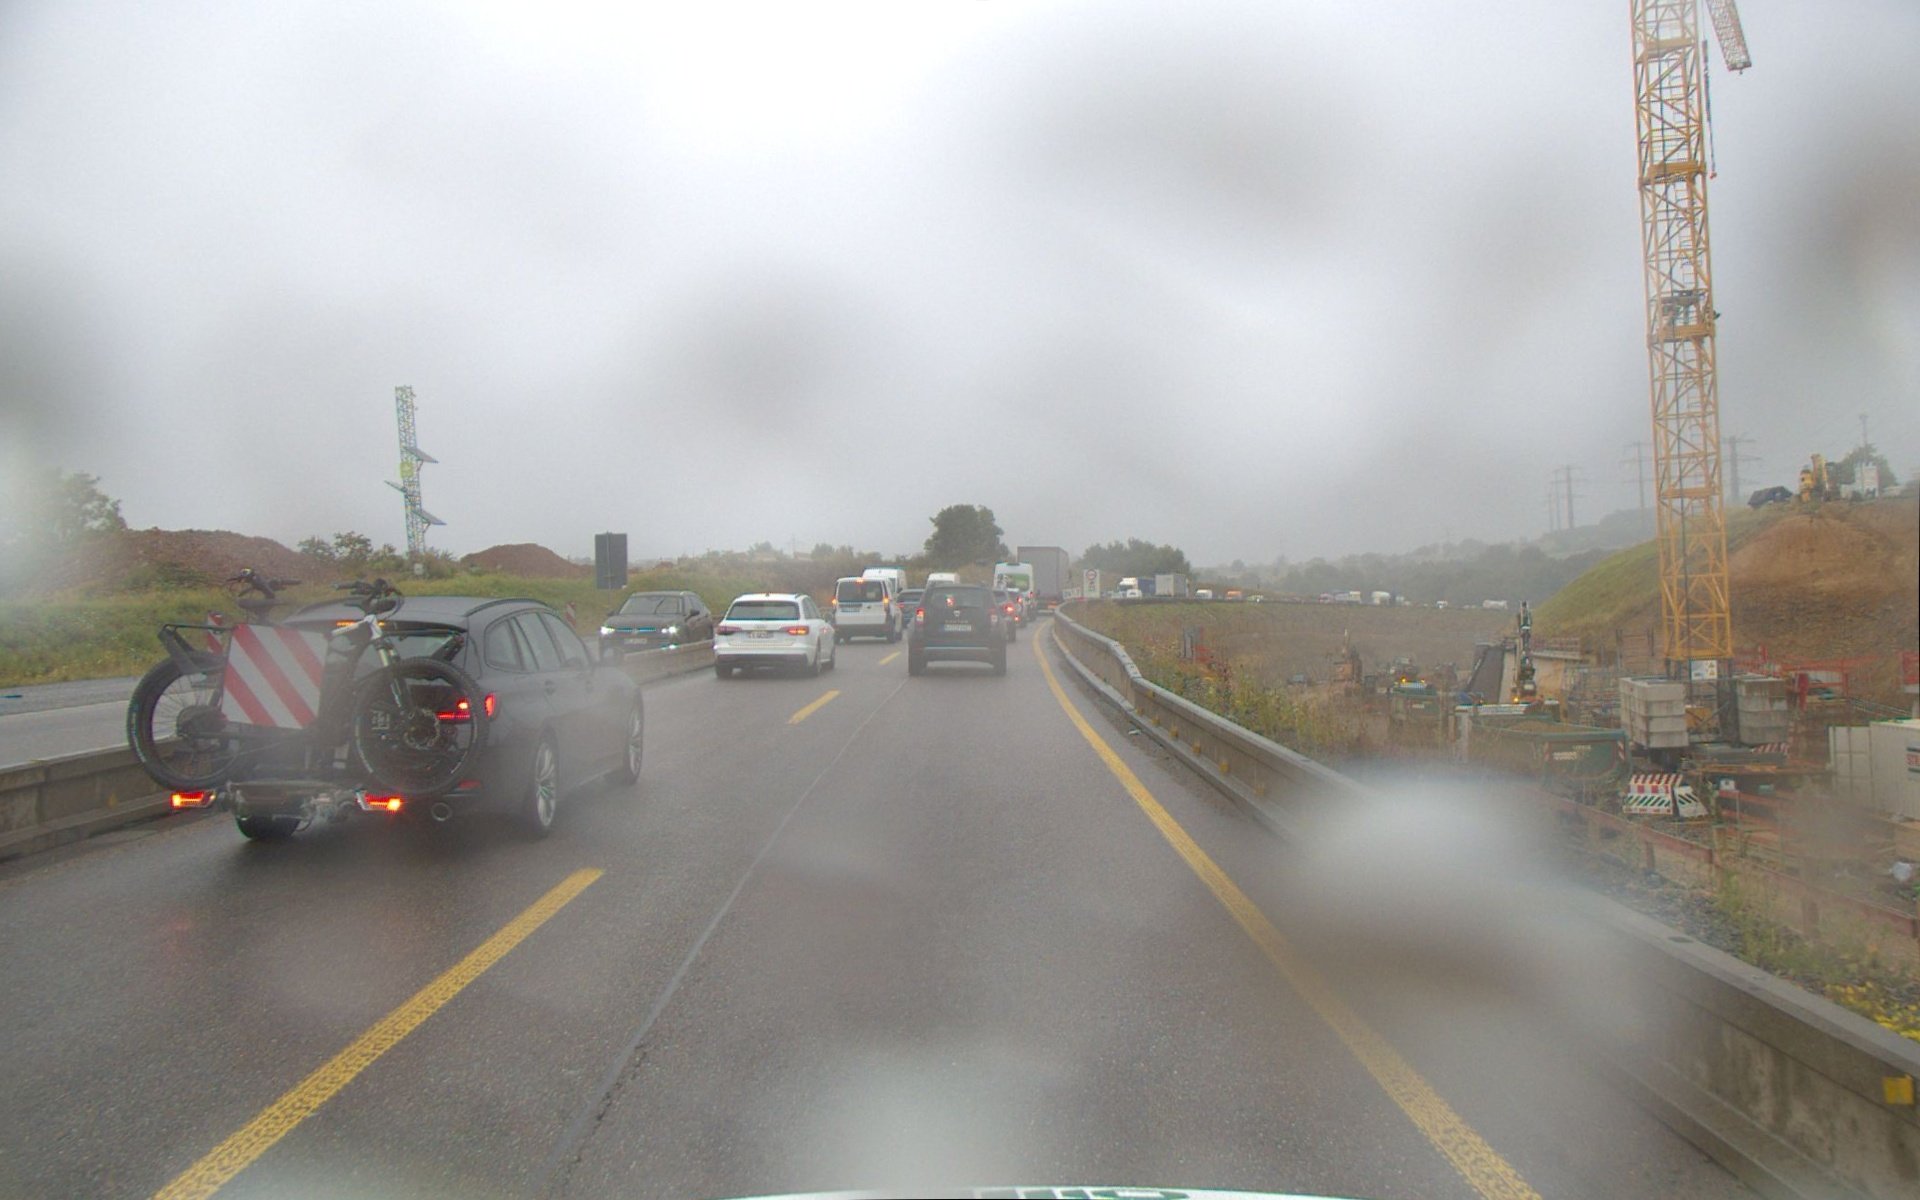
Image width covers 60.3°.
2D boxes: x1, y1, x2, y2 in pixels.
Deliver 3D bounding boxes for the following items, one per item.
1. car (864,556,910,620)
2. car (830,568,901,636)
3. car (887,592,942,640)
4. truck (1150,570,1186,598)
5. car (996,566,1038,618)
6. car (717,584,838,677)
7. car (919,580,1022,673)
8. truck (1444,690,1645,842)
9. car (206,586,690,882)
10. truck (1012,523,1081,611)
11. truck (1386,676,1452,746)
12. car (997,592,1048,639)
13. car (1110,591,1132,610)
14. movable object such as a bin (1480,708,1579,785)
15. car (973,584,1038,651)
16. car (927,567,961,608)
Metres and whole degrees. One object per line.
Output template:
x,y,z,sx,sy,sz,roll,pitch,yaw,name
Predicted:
-3.598,-0.603,82.320,1.952,3.066,5.780,1,0,1,car
-2.667,0.079,47.467,1.789,1.847,4.000,1,-1,0,car
-1.772,0.626,65.209,1.788,1.847,4.002,0,-1,4,car
28.291,-2.192,224.708,3.399,3.780,8.423,-1,0,17,truck
2.807,-0.368,81.015,1.787,2.480,4.160,0,-1,6,car
-3.185,0.522,29.510,1.789,1.525,3.999,1,-1,-1,car
0.200,0.490,31.107,1.789,1.619,4.000,1,-1,0,car
16.718,4.619,48.079,2.644,3.565,8.947,1,-1,0,truck
-3.240,0.704,11.807,1.699,1.488,5.630,0,2,0,car
5.485,-1.932,102.812,3.468,5.166,10.449,0,-1,7,truck
27.149,6.478,98.099,2.671,3.552,9.072,0,-1,9,truck
2.535,0.620,66.254,1.787,1.847,4.002,0,-1,6,car
19.697,0.072,202.154,1.991,2.295,4.161,0,-1,14,car
22.685,5.793,66.003,3.083,2.786,2.970,0,-1,4,movable object such as a bin
1.356,0.511,47.947,1.788,1.847,4.001,1,-1,3,car
-1.048,-0.835,109.906,1.982,2.593,5.959,-1,1,2,car
